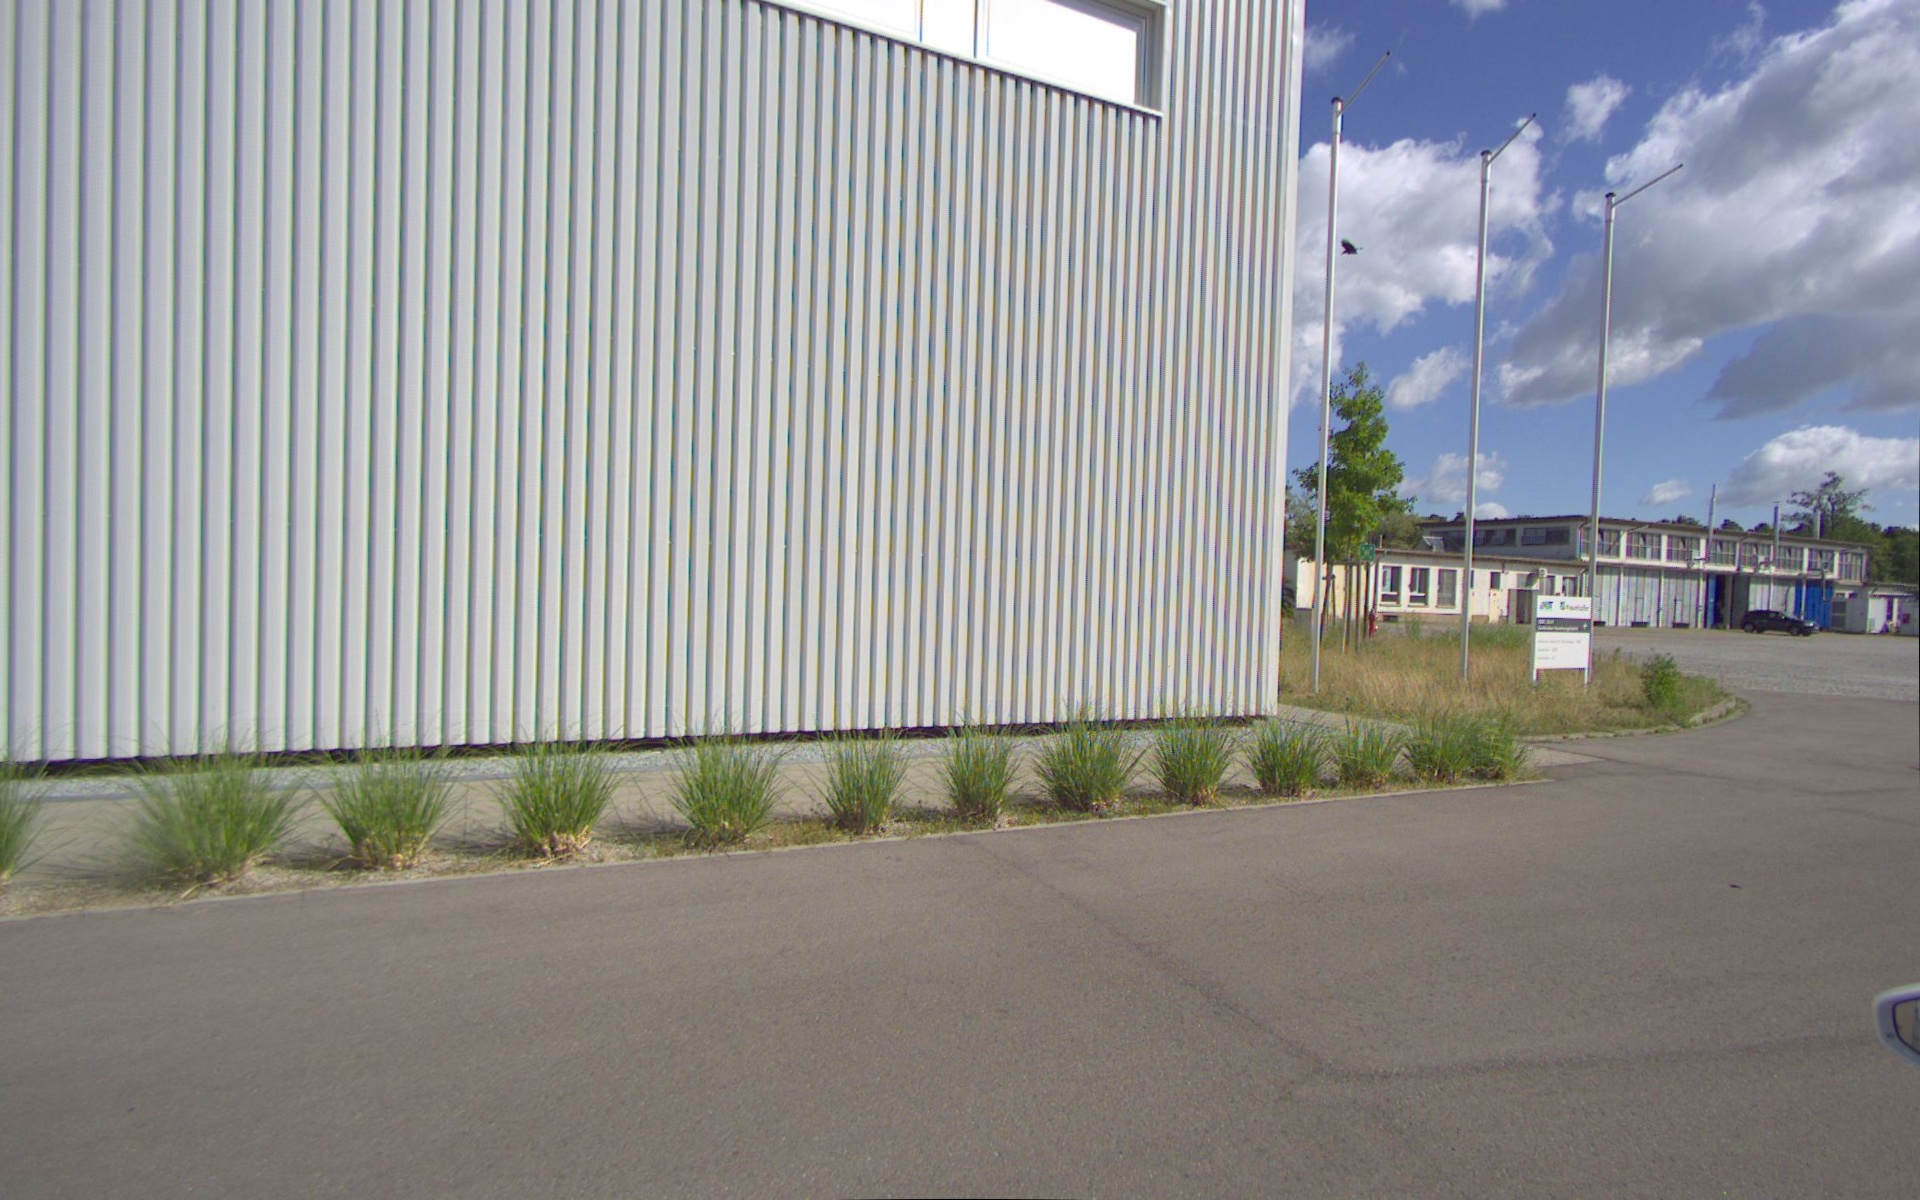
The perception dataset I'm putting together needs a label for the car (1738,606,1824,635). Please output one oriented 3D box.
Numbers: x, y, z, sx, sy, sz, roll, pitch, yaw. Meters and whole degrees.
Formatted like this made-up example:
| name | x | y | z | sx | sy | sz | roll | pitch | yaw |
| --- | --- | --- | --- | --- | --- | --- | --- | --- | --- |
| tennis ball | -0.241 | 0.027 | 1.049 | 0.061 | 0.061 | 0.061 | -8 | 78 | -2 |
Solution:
| name | x | y | z | sx | sy | sz | roll | pitch | yaw |
| --- | --- | --- | --- | --- | --- | --- | --- | --- | --- |
| car | 56.314 | 1.377 | 68.945 | 1.761 | 1.688 | 4.145 | 2 | 2 | -27 |
